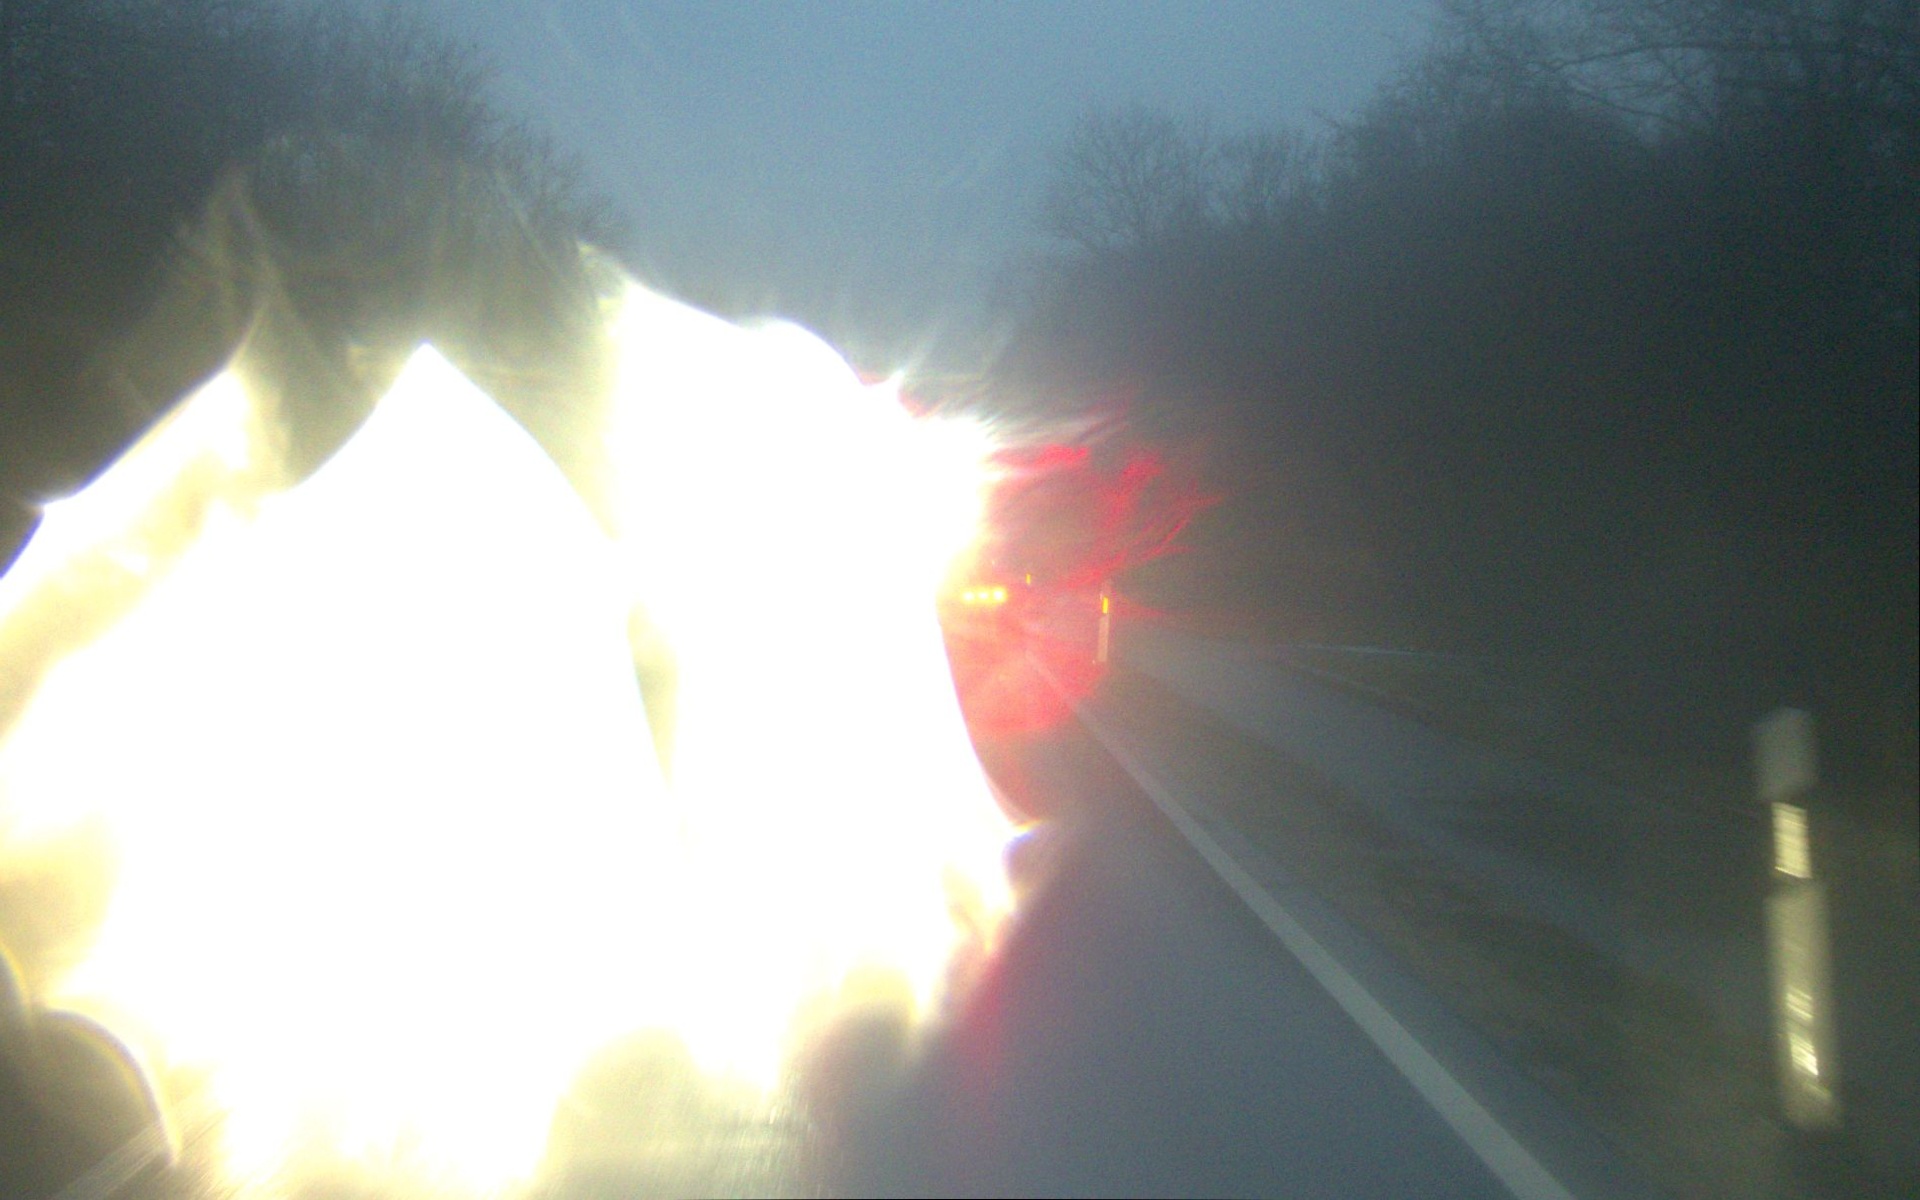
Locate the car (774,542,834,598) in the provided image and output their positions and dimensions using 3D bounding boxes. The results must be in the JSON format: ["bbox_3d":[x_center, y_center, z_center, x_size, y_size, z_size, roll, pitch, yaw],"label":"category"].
[{"bbox_3d":[-4.566,-0.889,101.015,1.581,1.545,4.000,-2,1,-1],"label":"car"}]

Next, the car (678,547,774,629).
[{"bbox_3d":[-4.800,-0.271,70.989,1.741,1.629,4.000,0,1,0],"label":"car"}]

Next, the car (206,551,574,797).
[{"bbox_3d":[-3.815,0.430,23.743,1.764,1.453,4.508,-3,1,-1],"label":"car"}]
